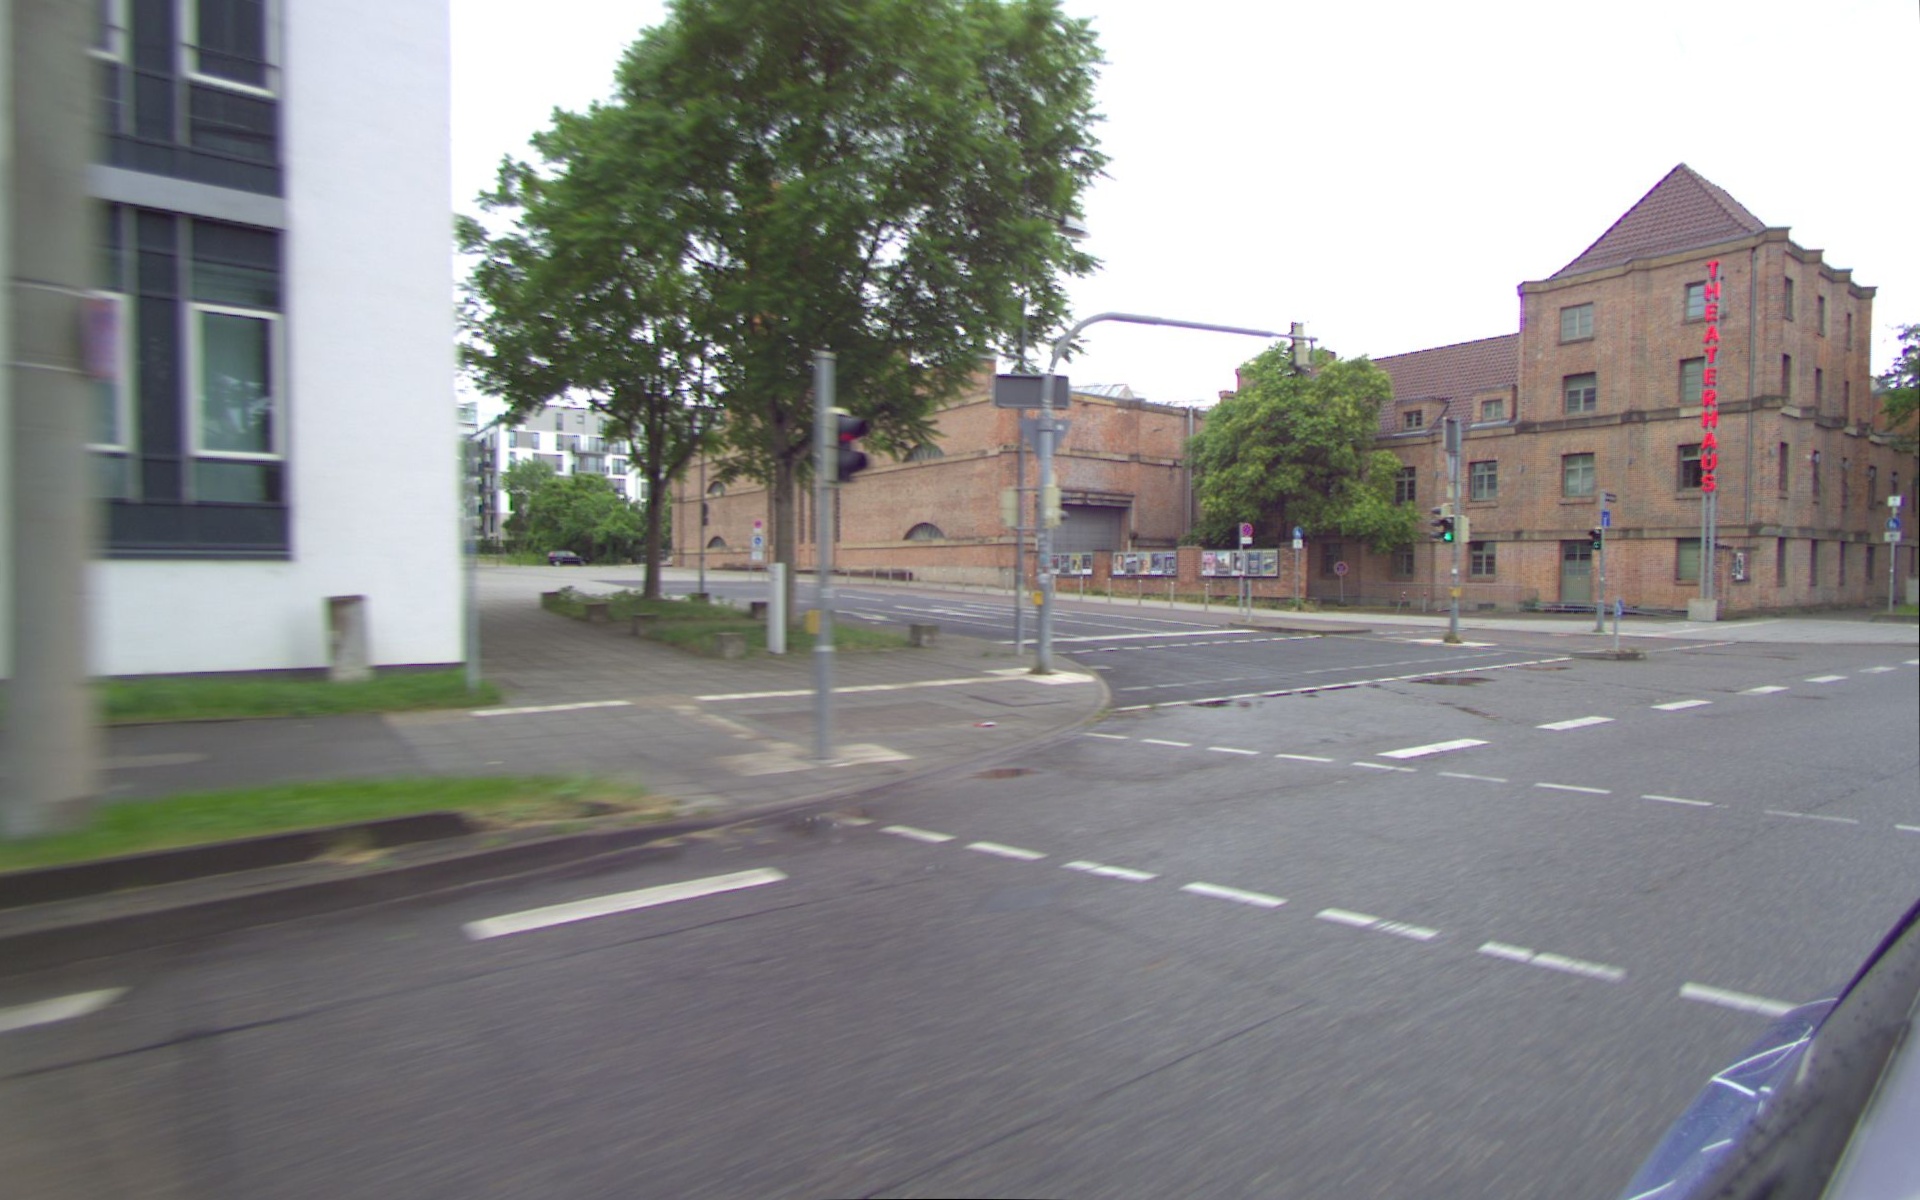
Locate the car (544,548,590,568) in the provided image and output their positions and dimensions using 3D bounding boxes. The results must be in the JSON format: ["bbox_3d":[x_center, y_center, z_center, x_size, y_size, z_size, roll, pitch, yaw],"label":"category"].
[{"bbox_3d":[-39.324,-4.209,101.326,3.924,2.038,2.001,-2,2,-34],"label":"car"}]
